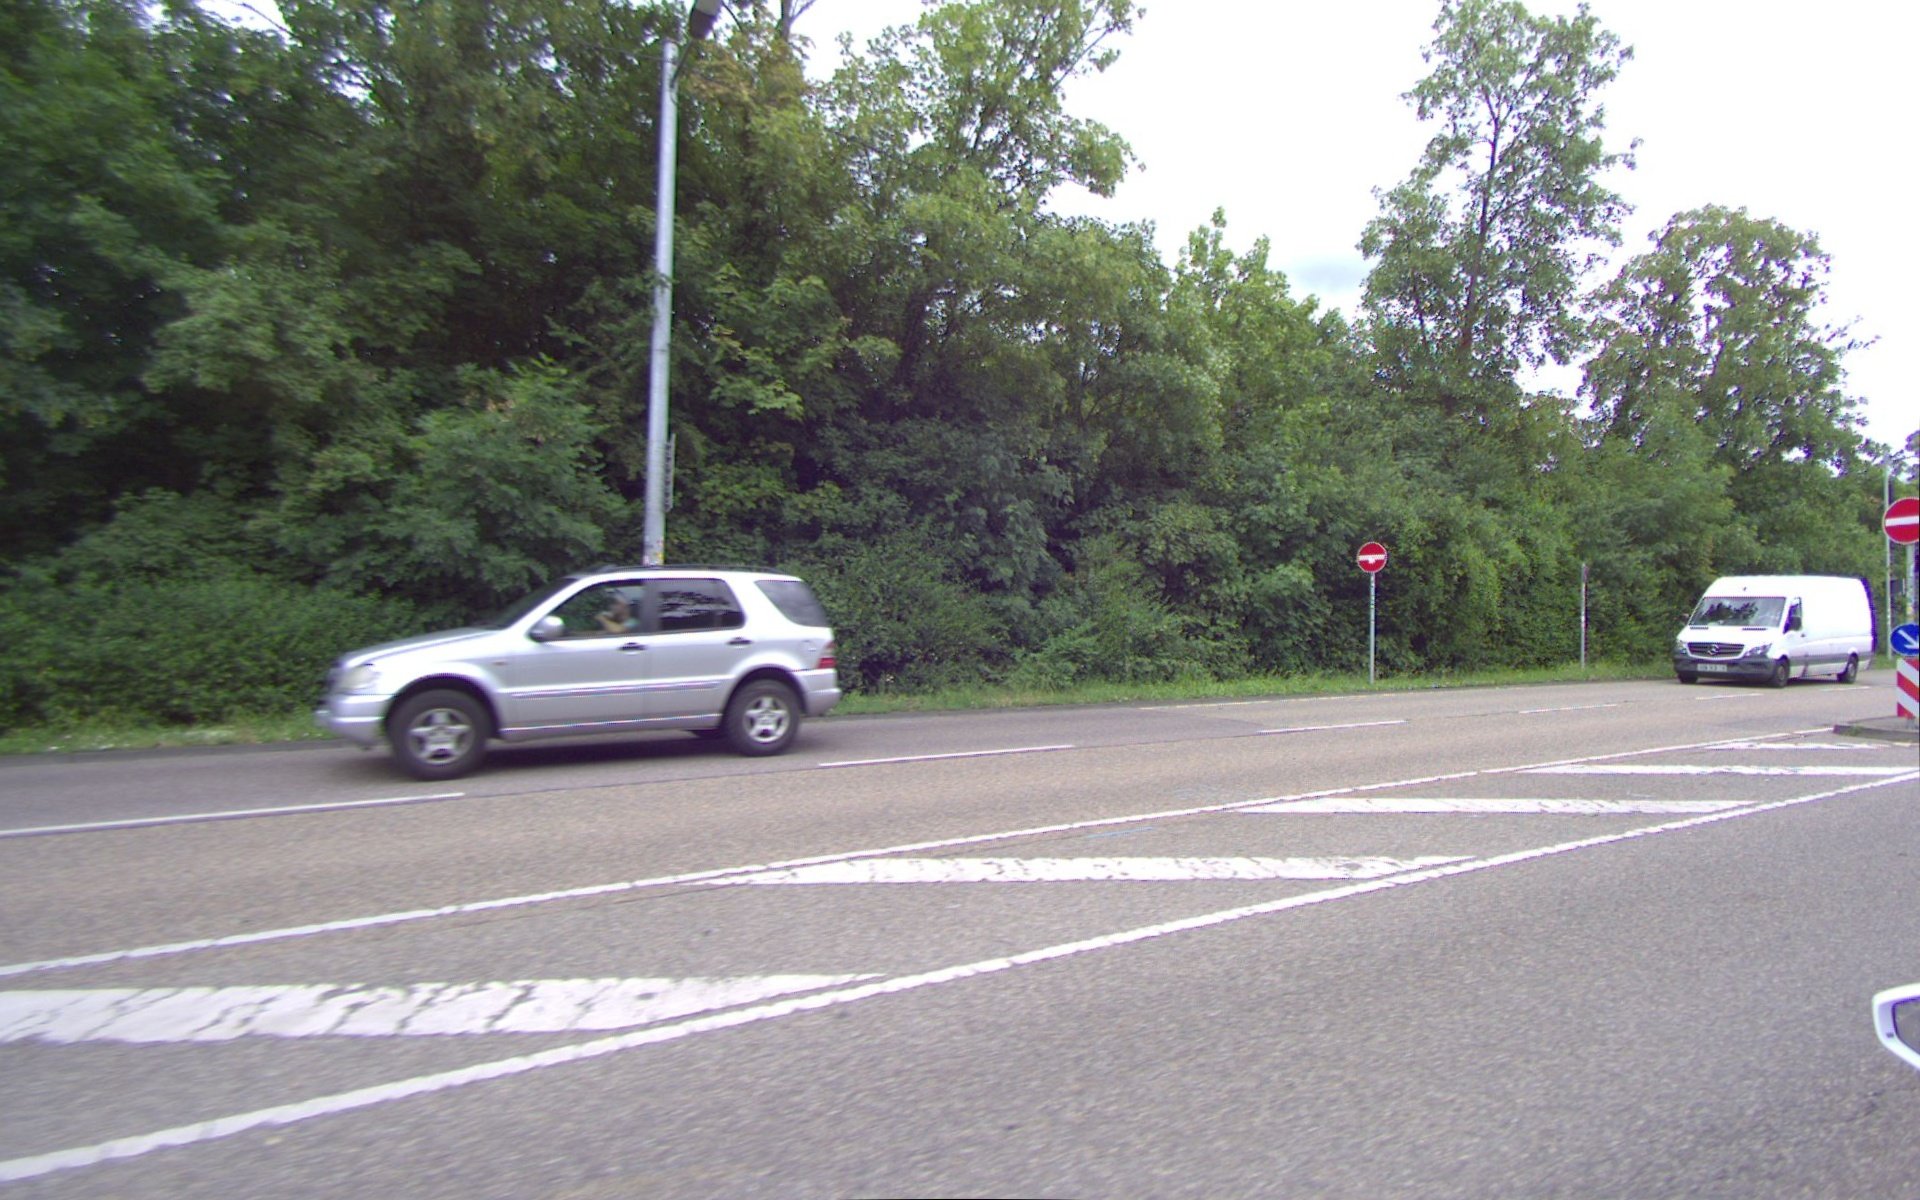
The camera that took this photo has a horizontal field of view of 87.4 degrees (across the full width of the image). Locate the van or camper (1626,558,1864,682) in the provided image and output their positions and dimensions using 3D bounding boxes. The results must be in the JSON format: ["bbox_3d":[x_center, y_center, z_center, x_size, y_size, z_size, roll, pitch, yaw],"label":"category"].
[{"bbox_3d":[18.934,0.431,24.106,6.784,2.589,2.269,1,3,-33],"label":"van or camper"}]

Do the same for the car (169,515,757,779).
[{"bbox_3d":[-4.209,0.374,9.009,4.336,1.854,1.803,1,-1,-33],"label":"car"}]
